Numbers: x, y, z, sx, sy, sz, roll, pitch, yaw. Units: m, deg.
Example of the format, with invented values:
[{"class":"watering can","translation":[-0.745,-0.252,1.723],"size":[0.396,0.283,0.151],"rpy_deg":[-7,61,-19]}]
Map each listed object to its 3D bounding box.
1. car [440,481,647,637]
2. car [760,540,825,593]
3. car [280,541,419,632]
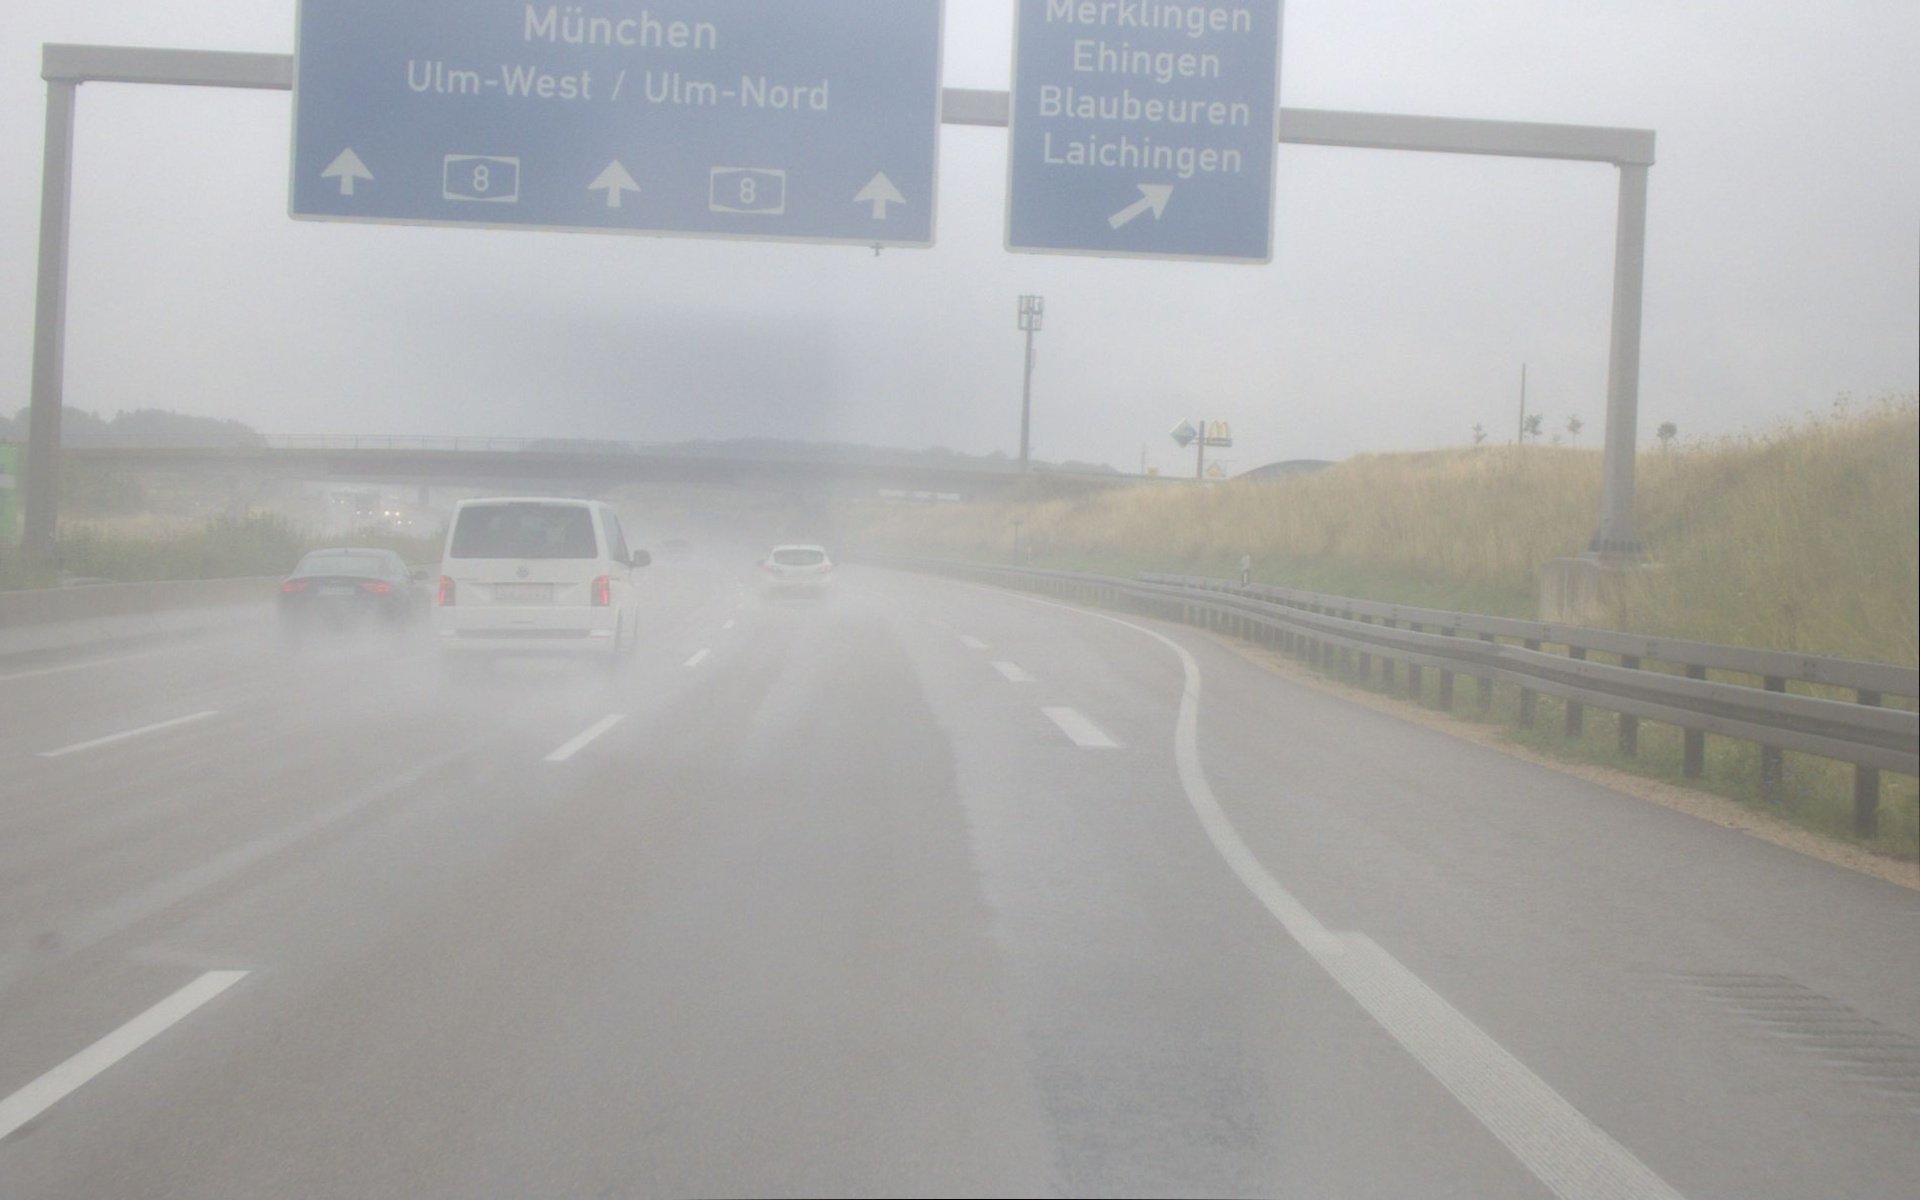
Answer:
[{"class":"car","translation":[-4.474,-0.448,37.424],"size":[1.897,1.580,4.000],"rpy_deg":[1,1,-2]},{"class":"car","translation":[-3.964,-0.807,81.213],"size":[1.467,1.204,2.992],"rpy_deg":[1,1,-4]},{"class":"car","translation":[-8.762,-0.214,49.536],"size":[1.468,1.253,3.340],"rpy_deg":[0,1,-1]}]
